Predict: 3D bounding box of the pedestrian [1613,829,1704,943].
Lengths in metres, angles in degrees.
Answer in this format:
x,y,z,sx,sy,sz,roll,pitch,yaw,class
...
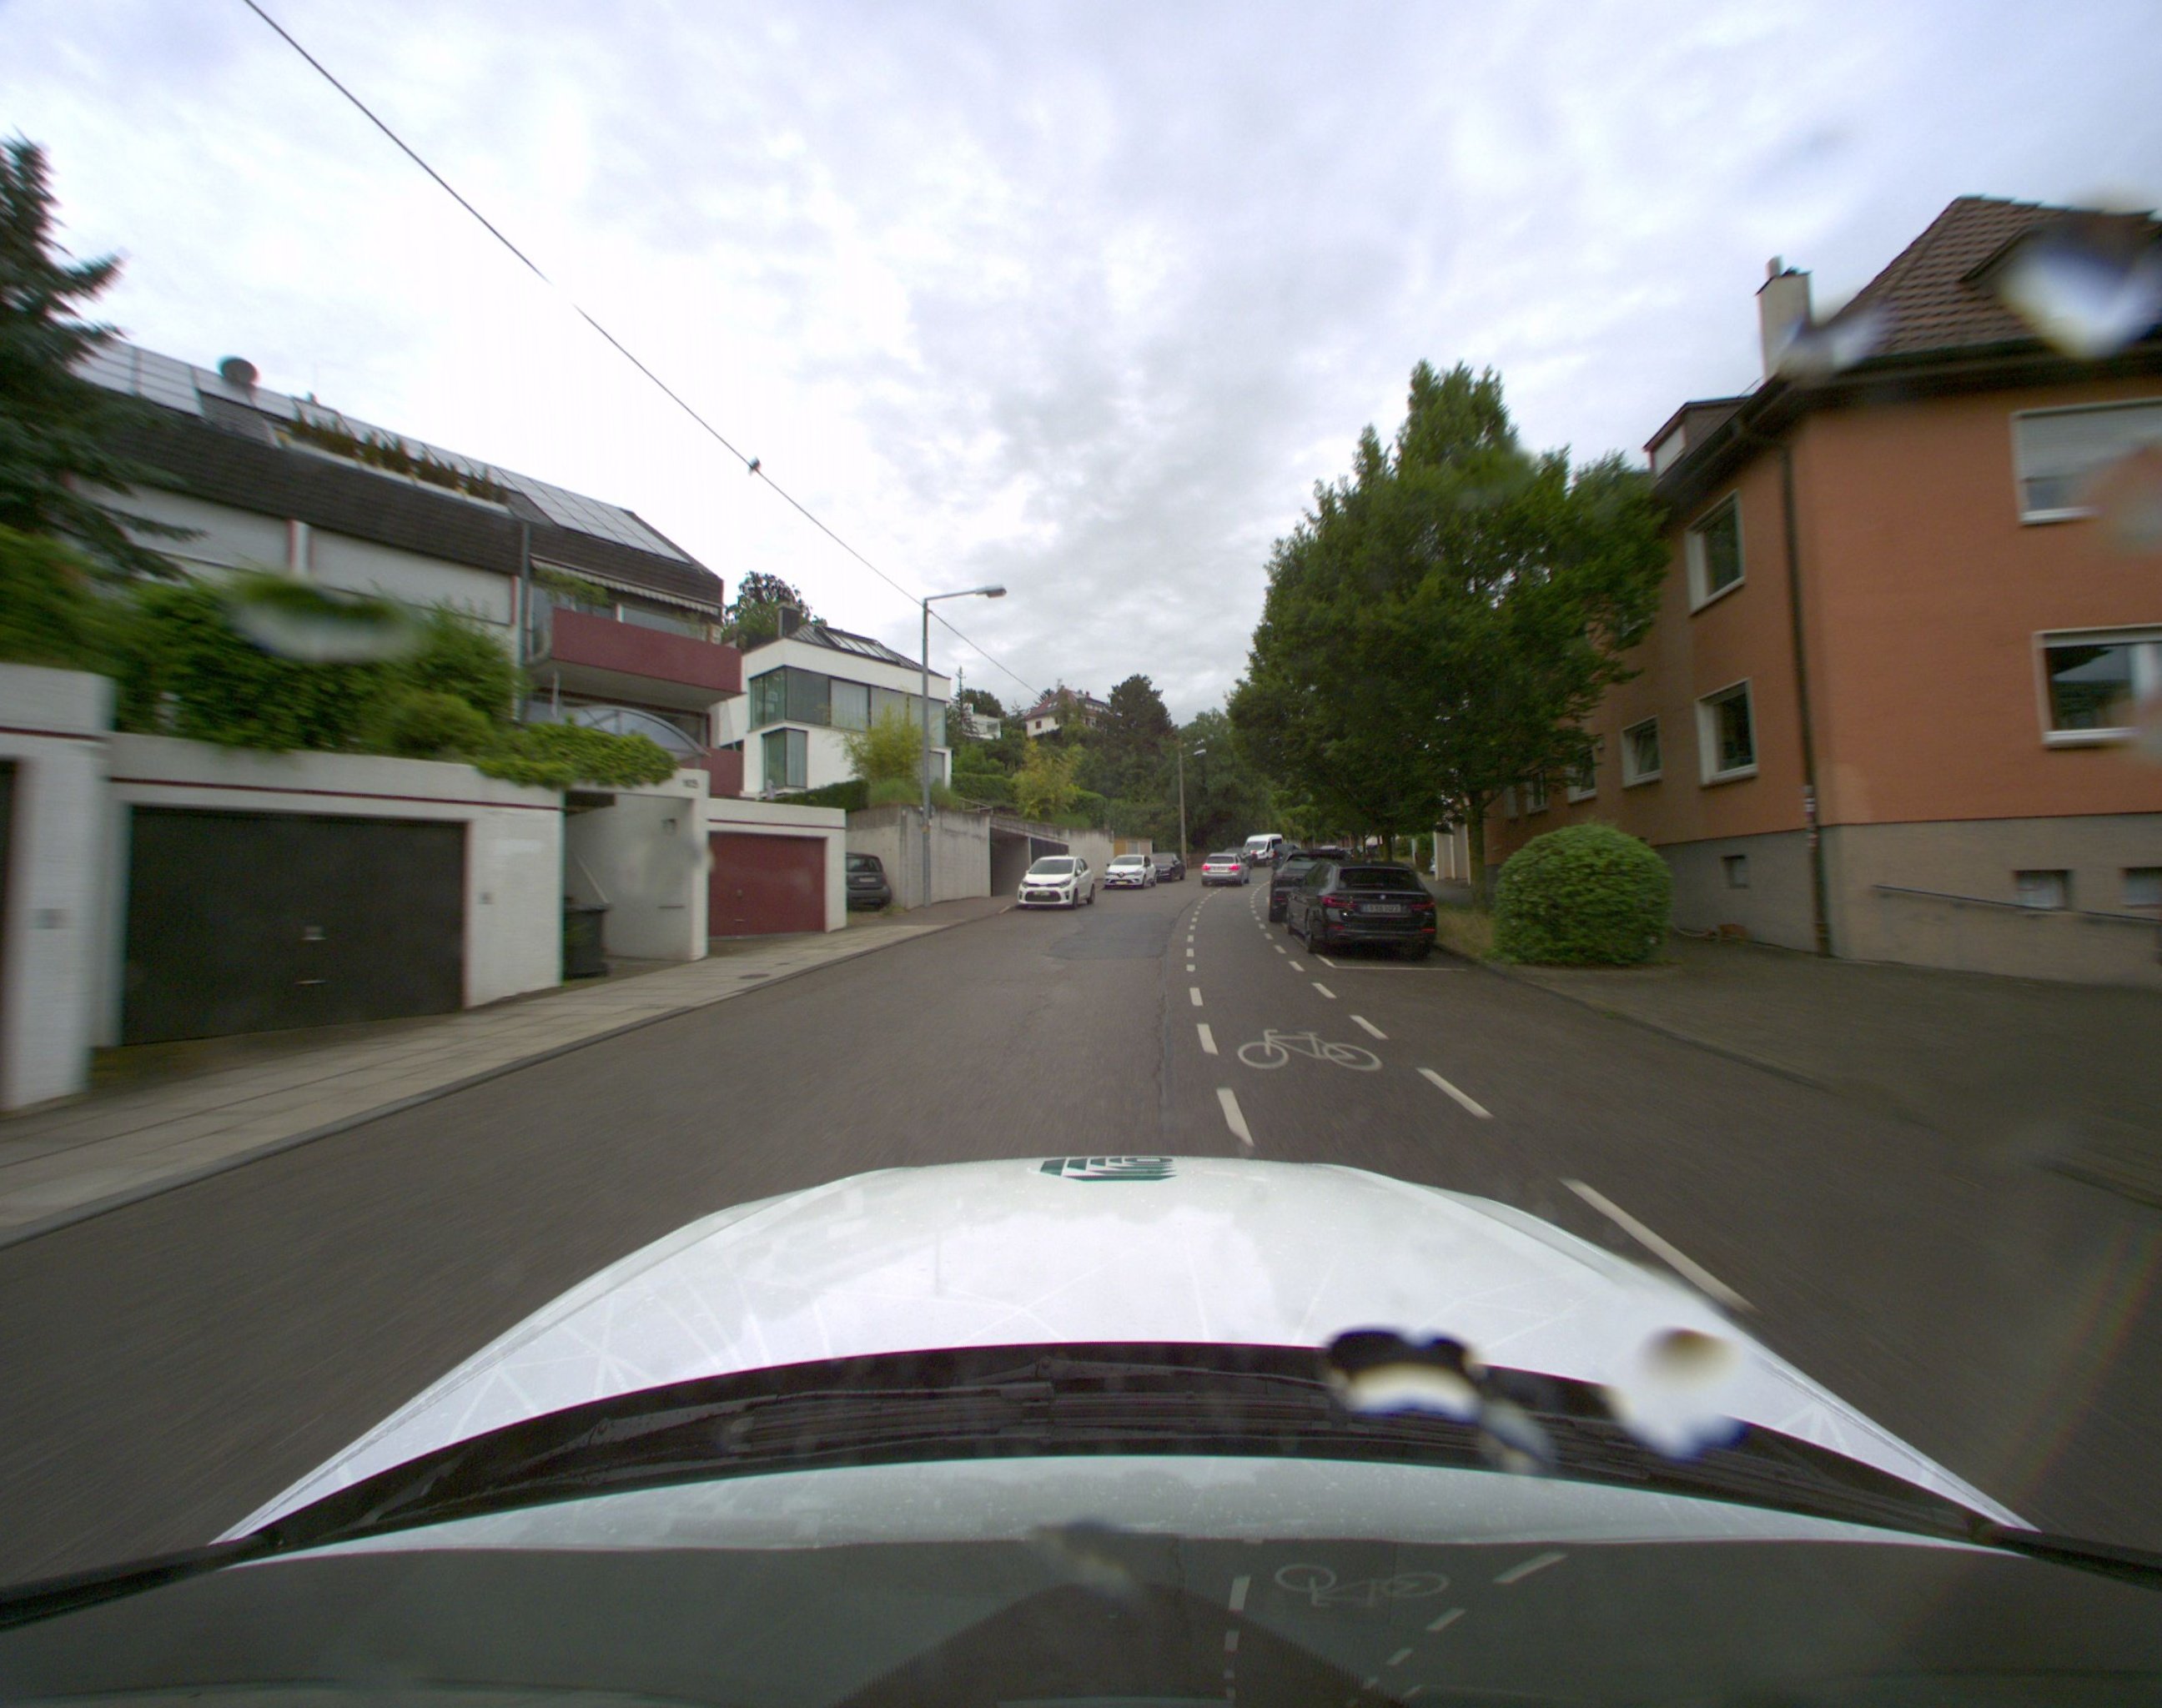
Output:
x,y,z,sx,sy,sz,roll,pitch,yaw,class
9.178,0.487,12.977,0.756,1.720,0.904,-4,0,7,pedestrian

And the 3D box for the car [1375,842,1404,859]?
x,y,z,sx,sy,sz,roll,pitch,yaw,class
28.612,-0.349,75.509,1.633,1.481,4.046,0,1,34,car

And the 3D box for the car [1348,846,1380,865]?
x,y,z,sx,sy,sz,roll,pitch,yaw,class
23.020,0.074,66.171,1.627,1.424,4.314,1,2,30,car

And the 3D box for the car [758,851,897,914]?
x,y,z,sx,sy,sz,roll,pitch,yaw,class
-6.911,0.706,22.054,3.881,1.478,1.779,1,1,40,car

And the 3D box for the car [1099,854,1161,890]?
x,y,z,sx,sy,sz,roll,pitch,yaw,class
2.210,0.753,35.678,1.818,1.440,4.057,-2,0,16,car

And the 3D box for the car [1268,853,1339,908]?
x,y,z,sx,sy,sz,roll,pitch,yaw,class
6.923,0.755,25.717,1.849,1.469,5.073,2,1,12,car

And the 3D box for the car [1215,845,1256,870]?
x,y,z,sx,sy,sz,roll,pitch,yaw,class
11.260,0.204,59.046,1.879,1.691,4.571,-2,0,24,car

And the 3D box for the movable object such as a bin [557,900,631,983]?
x,y,z,sx,sy,sz,roll,pitch,yaw,class
-6.263,1.102,10.482,0.537,0.963,0.650,0,1,38,movable object such as a bin

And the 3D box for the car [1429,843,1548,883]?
x,y,z,sx,sy,sz,roll,pitch,yaw,class
16.765,0.366,33.763,4.265,1.465,1.945,1,-1,22,car

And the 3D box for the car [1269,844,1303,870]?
x,y,z,sx,sy,sz,roll,pitch,yaw,class
14.244,0.177,56.509,1.977,1.708,4.019,0,0,19,car

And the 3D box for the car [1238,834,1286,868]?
x,y,z,sx,sy,sz,roll,pitch,yaw,class
14.704,-0.306,65.854,2.074,2.550,6.135,-2,1,30,car

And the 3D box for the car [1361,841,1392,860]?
x,y,z,sx,sy,sz,roll,pitch,yaw,class
25.702,-0.326,70.692,1.698,1.555,4.190,1,2,32,car

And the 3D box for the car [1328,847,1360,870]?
x,y,z,sx,sy,sz,roll,pitch,yaw,class
18.094,0.265,55.964,1.639,1.519,4.023,0,1,25,car

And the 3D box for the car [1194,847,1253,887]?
x,y,z,sx,sy,sz,roll,pitch,yaw,class
6.514,0.559,36.899,2.009,1.708,4.235,0,0,18,car

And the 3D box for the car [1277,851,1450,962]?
x,y,z,sx,sy,sz,roll,pitch,yaw,class
4.662,0.755,14.200,1.845,1.581,4.867,-1,0,7,car

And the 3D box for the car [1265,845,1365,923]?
x,y,z,sx,sy,sz,roll,pitch,yaw,class
5.681,0.620,20.025,2.039,1.656,5.257,-1,0,15,car

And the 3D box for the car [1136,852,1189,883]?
x,y,z,sx,sy,sz,roll,pitch,yaw,class
4.284,0.654,42.116,1.699,1.459,4.705,-1,0,18,car

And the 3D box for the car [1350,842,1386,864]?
x,y,z,sx,sy,sz,roll,pitch,yaw,class
21.128,-0.108,59.912,1.759,1.552,4.757,1,1,28,car

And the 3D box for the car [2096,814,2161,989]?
x,y,z,sx,sy,sz,roll,pitch,yaw,class
13.109,0.703,7.815,3.967,1.807,1.905,7,-1,6,car

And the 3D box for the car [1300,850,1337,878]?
x,y,z,sx,sy,sz,roll,pitch,yaw,class
13.569,0.550,46.418,1.654,1.471,3.730,1,1,22,car

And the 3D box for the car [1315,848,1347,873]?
x,y,z,sx,sy,sz,roll,pitch,yaw,class
16.108,0.389,52.381,1.612,1.562,3.039,0,1,24,car

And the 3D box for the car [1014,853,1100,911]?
x,y,z,sx,sy,sz,roll,pitch,yaw,class
-0.623,0.775,24.043,1.616,1.516,3.846,-1,0,12,car
